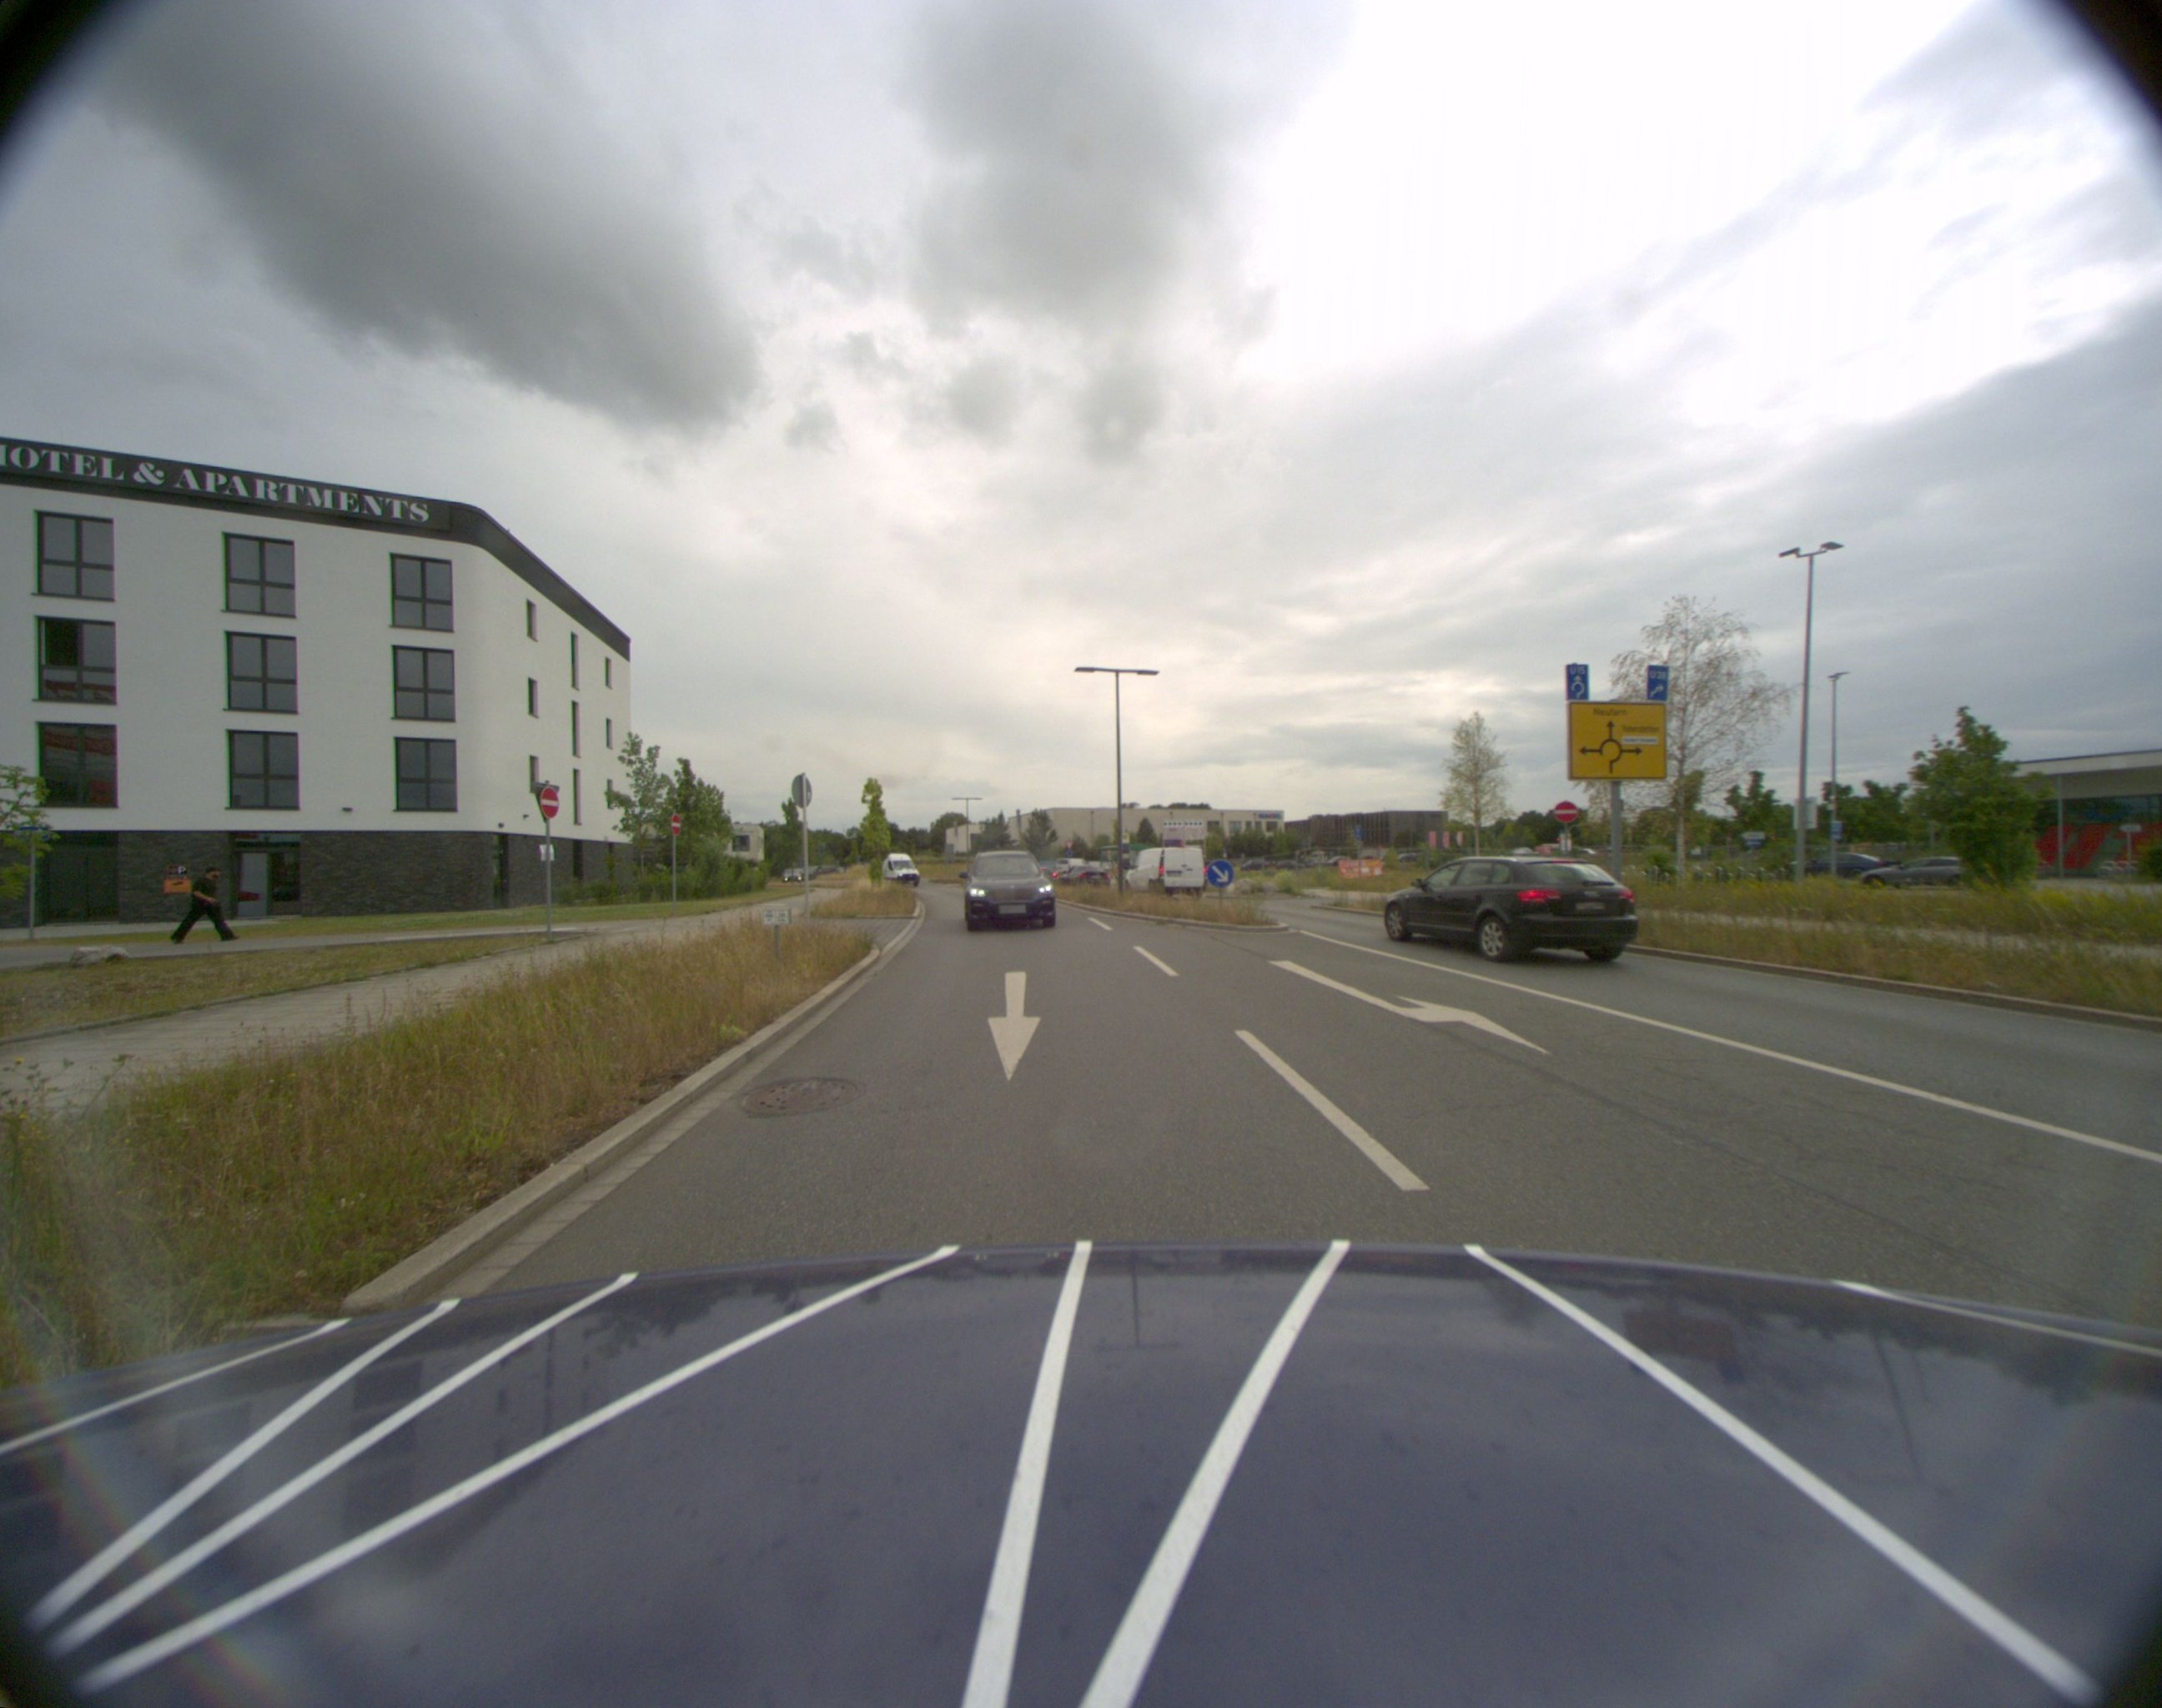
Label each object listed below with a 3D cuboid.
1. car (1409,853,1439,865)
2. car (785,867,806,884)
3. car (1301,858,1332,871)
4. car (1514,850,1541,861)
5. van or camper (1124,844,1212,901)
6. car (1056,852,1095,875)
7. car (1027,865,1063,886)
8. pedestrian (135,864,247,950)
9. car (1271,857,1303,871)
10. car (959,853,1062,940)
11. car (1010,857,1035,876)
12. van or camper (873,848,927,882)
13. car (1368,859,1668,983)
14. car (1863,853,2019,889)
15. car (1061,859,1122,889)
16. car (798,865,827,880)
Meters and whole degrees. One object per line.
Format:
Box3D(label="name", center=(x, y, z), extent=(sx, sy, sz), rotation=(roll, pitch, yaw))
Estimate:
Box3D(label="car", center=(52.013, 0.795, 115.198), extent=(4.006, 1.707, 1.995), rotation=(-2, 1, -29))
Box3D(label="car", center=(-29.265, 2.134, 77.937), extent=(2.002, 1.576, 3.993), rotation=(-2, 0, -20))
Box3D(label="car", center=(33.891, 1.481, 109.405), extent=(4.006, 1.707, 1.995), rotation=(-2, 1, -29))
Box3D(label="car", center=(72.543, 0.220, 123.511), extent=(4.006, 1.707, 1.995), rotation=(-2, 1, -29))
Box3D(label="van or camper", center=(3.205, 0.655, 29.189), extent=(1.953, 1.996, 5.123), rotation=(0, 0, -11))
Box3D(label="car", center=(-0.562, 0.997, 81.056), extent=(1.995, 2.231, 4.598), rotation=(-1, 1, 31))
Box3D(label="car", center=(-2.586, 1.508, 53.639), extent=(1.789, 1.313, 3.995), rotation=(-2, 0, -14))
Box3D(label="pedestrian", center=(-20.382, 1.178, 17.448), extent=(1.195, 1.847, 1.073), rotation=(-1, 2, -10))
Box3D(label="car", center=(28.248, 1.386, 104.174), extent=(4.006, 1.707, 1.995), rotation=(-2, 1, -29))
Box3D(label="car", center=(-1.631, 0.851, 17.196), extent=(2.000, 1.654, 3.998), rotation=(-2, 0, -6))
Box3D(label="car", center=(-5.193, 1.067, 67.294), extent=(2.000, 1.608, 3.997), rotation=(-2, 0, -7))
Box3D(label="van or camper", center=(-14.760, 0.867, 61.805), extent=(2.270, 2.601, 5.682), rotation=(-1, 0, -36))
Box3D(label="car", center=(6.123, 0.822, 11.341), extent=(1.723, 1.437, 4.232), rotation=(0, 0, -6))
Box3D(label="car", center=(37.733, 0.718, 33.516), extent=(1.833, 1.443, 4.190), rotation=(-1, 0, -14))
Box3D(label="car", center=(0.475, 1.016, 40.513), extent=(2.173, 1.474, 4.898), rotation=(-1, 0, -13))
Box3D(label="car", center=(-31.814, 2.135, 90.237), extent=(1.972, 1.576, 4.000), rotation=(-2, 0, 1))
